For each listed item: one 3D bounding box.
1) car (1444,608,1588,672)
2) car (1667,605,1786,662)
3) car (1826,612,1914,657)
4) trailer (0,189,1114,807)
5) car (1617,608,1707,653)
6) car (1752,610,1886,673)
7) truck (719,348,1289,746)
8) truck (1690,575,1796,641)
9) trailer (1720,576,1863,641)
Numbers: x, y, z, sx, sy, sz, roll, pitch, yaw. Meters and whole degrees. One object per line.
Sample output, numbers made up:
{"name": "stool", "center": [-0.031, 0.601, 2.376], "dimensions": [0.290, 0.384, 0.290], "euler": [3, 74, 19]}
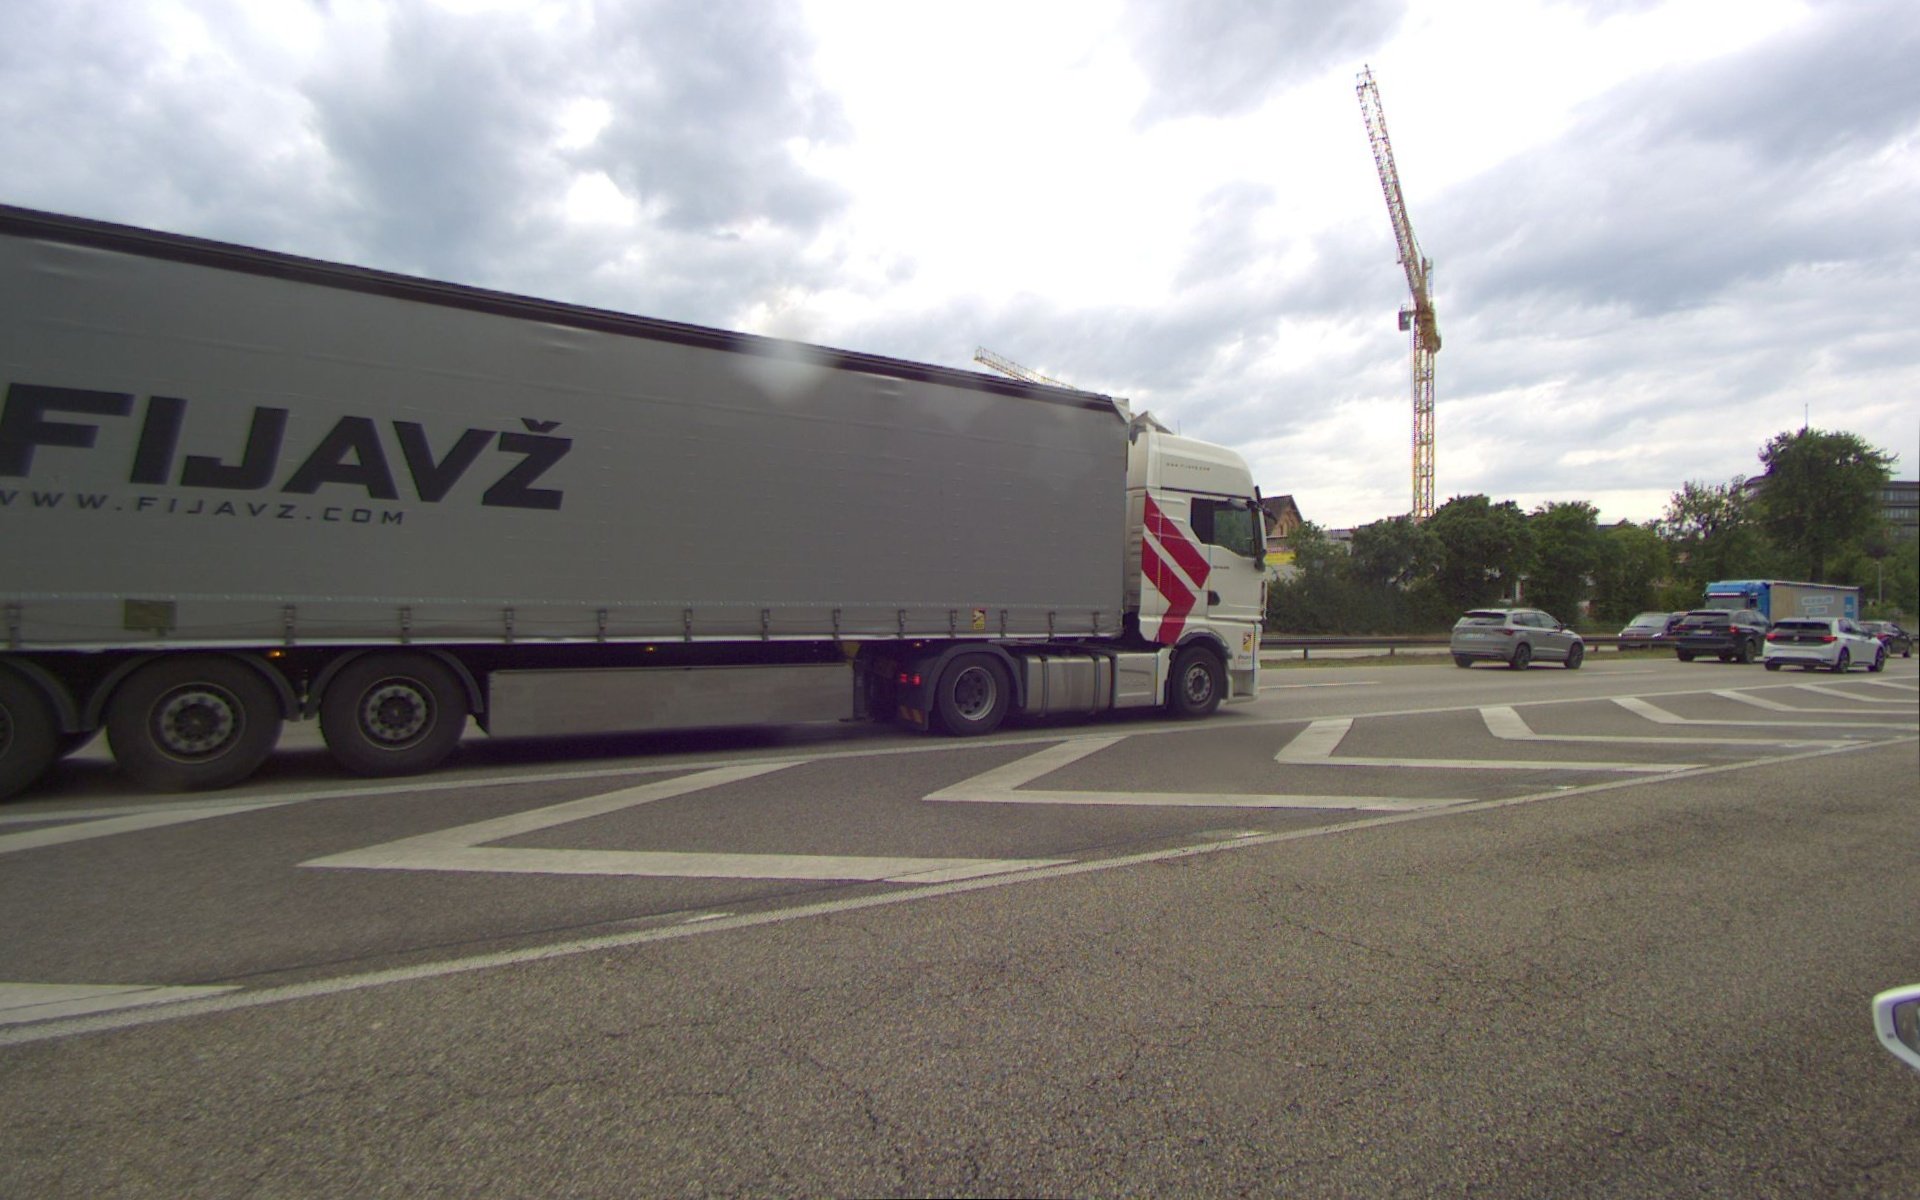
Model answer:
{"name": "car", "center": [15.136, 1.032, 27.321], "dimensions": [3.882, 1.623, 1.720], "euler": [1, 0, -31]}
{"name": "car", "center": [25.601, 1.113, 33.527], "dimensions": [3.955, 1.739, 1.864], "euler": [2, 0, -32]}
{"name": "car", "center": [37.773, 1.447, 41.673], "dimensions": [3.957, 1.739, 1.707], "euler": [2, 0, -33]}
{"name": "trailer", "center": [-4.455, -0.606, 9.916], "dimensions": [12.961, 4.090, 3.278], "euler": [2, 0, -34]}
{"name": "car", "center": [32.781, 1.400, 46.882], "dimensions": [3.953, 2.040, 1.984], "euler": [1, -1, -30]}
{"name": "car", "center": [24.636, 1.177, 28.767], "dimensions": [4.212, 1.625, 1.789], "euler": [2, 0, -33]}
{"name": "truck", "center": [0.750, -0.466, 13.391], "dimensions": [6.998, 3.999, 3.180], "euler": [2, 0, -33]}
{"name": "truck", "center": [47.516, 0.490, 60.927], "dimensions": [6.560, 3.759, 2.758], "euler": [2, 0, -30]}
{"name": "trailer", "center": [53.447, 0.628, 64.368], "dimensions": [13.104, 3.752, 2.673], "euler": [2, 0, -31]}
